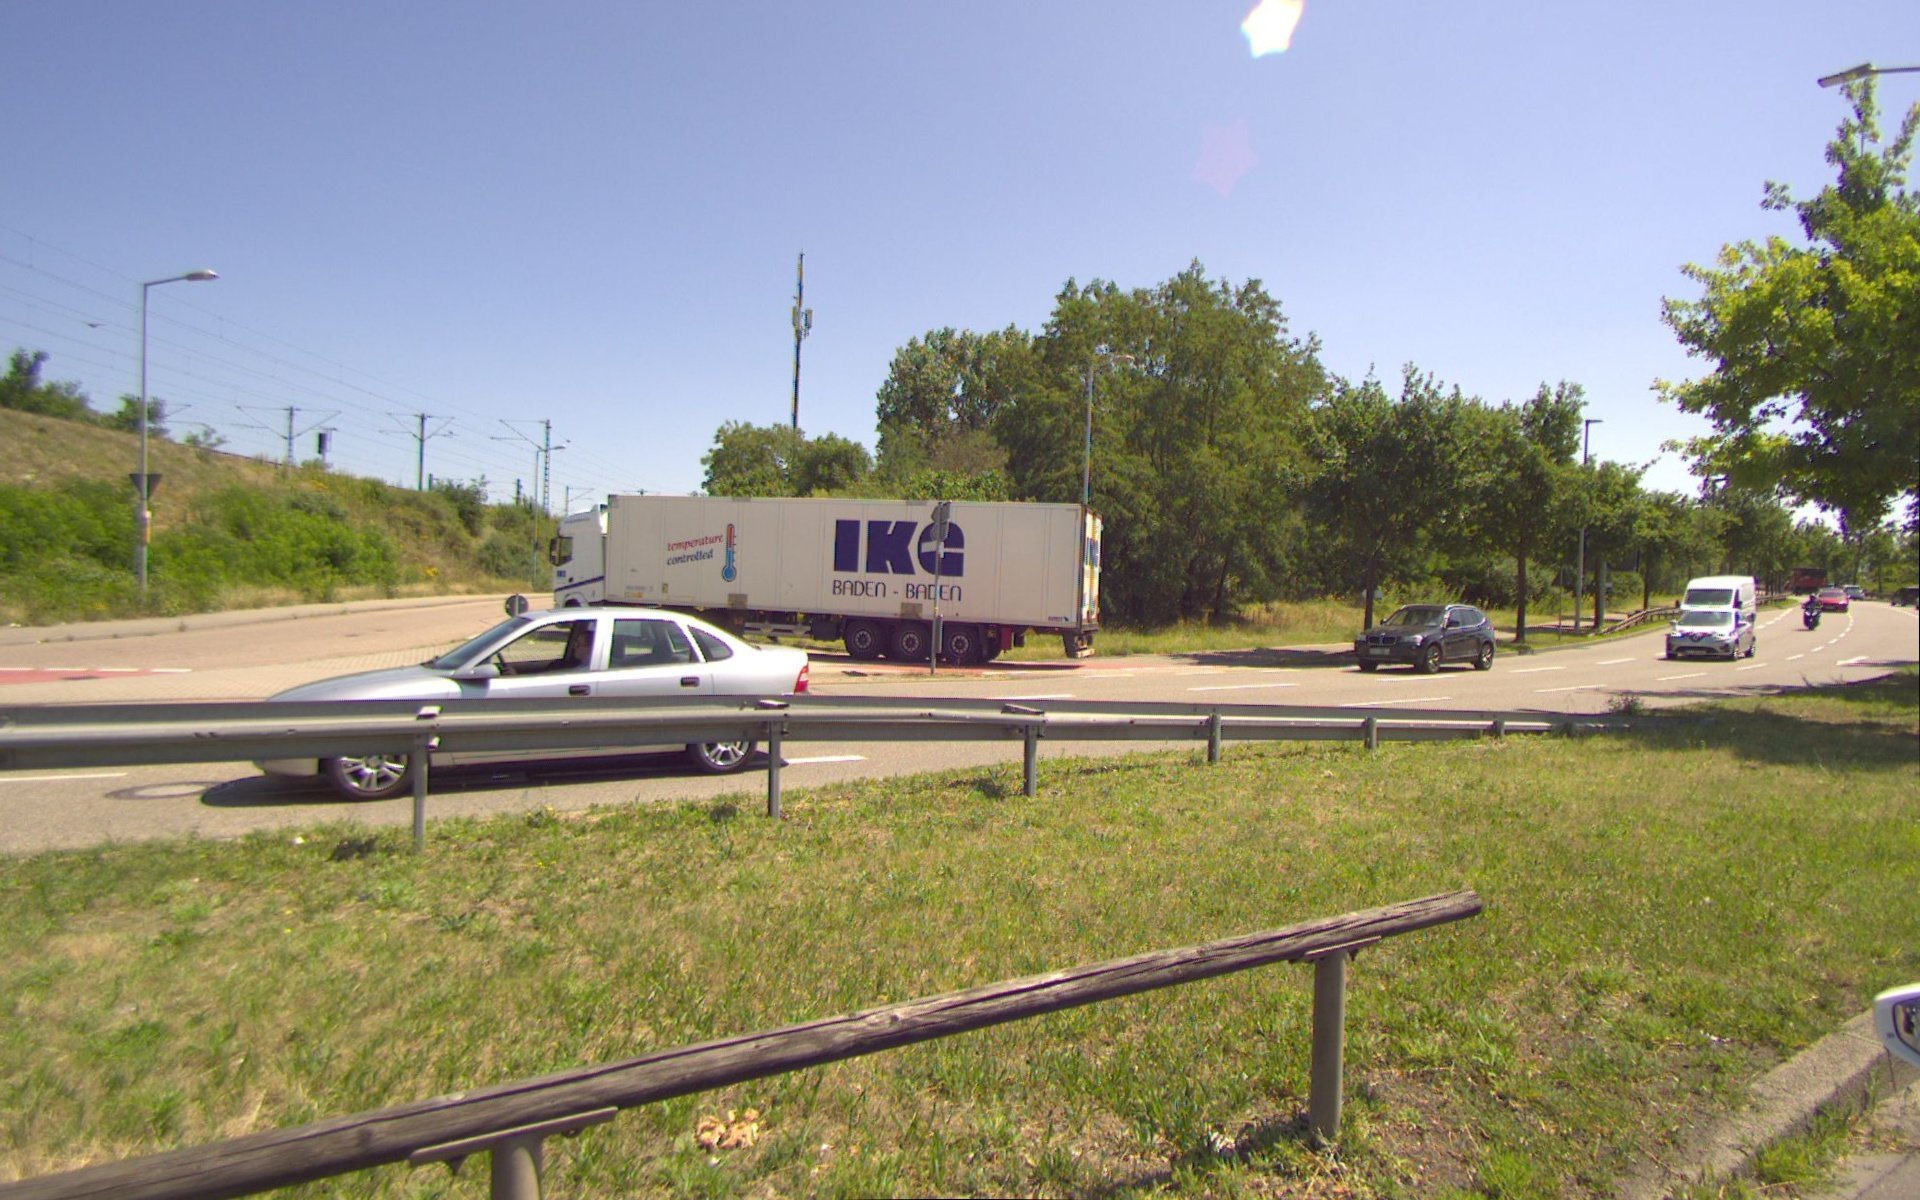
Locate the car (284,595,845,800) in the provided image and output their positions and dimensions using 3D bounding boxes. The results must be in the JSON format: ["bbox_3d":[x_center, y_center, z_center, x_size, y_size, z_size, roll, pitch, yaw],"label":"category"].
[{"bbox_3d":[-3.245,0.728,8.717,4.170,1.421,1.627,1,-1,-29],"label":"car"}]

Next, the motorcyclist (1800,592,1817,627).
[{"bbox_3d":[40.836,0.471,48.343,0.581,1.648,0.559,2,0,44],"label":"motorcyclist"}]

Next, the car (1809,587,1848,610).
[{"bbox_3d":[60.074,-0.072,69.445,1.811,1.456,4.499,-1,-2,43],"label":"car"}]

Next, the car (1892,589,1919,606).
[{"bbox_3d":[76.585,-0.184,81.288,1.400,1.331,3.322,2,0,39],"label":"car"}]

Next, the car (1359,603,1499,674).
[{"bbox_3d":[11.897,0.954,25.356,4.436,1.654,1.476,2,-2,-40],"label":"car"}]

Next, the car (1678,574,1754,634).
[{"bbox_3d":[34.240,0.148,45.427,2.072,2.534,5.773,0,0,44],"label":"car"}]

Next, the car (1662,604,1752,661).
[{"bbox_3d":[23.151,0.945,31.068,4.044,1.588,1.618,-1,1,-44],"label":"car"}]

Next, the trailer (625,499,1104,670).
[{"bbox_3d":[-2.512,-0.402,26.907,12.446,4.104,3.023,0,1,12],"label":"trailer"}]

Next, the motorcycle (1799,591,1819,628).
[{"bbox_3d":[40.894,0.469,48.368,0.591,1.700,2.411,2,0,43],"label":"motorcycle"}]

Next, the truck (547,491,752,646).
[{"bbox_3d":[-9.111,-0.871,29.175,6.170,4.075,2.542,2,0,38],"label":"truck"}]

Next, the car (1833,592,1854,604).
[{"bbox_3d":[87.497,-0.167,99.492,1.305,1.154,2.983,2,0,38],"label":"car"}]
